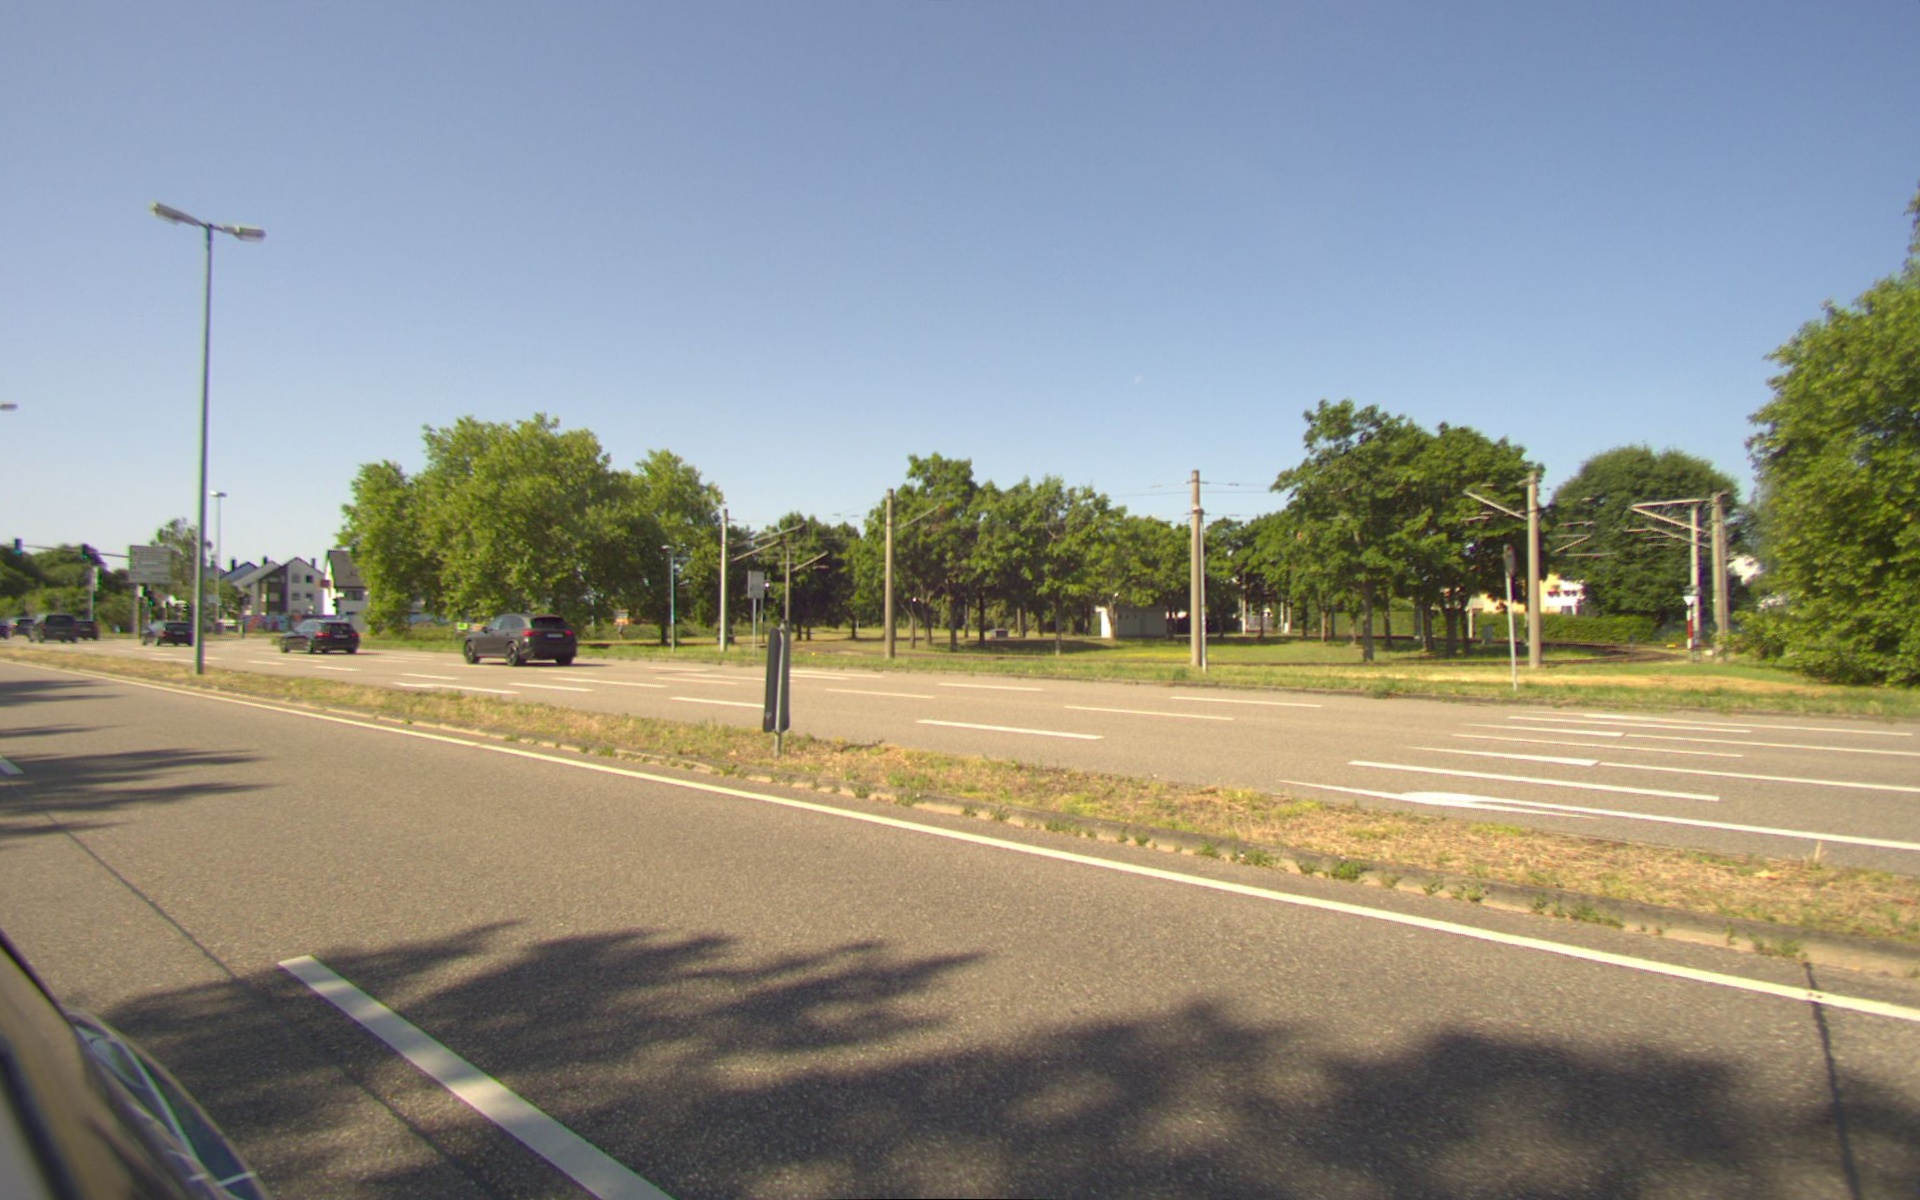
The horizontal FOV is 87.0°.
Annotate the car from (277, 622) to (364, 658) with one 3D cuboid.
[{"bbox_3d":[-27.473,1.694,43.445,4.464,1.476,1.813,-1,-2,39],"label":"car"}]

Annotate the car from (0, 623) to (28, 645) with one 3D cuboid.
[{"bbox_3d":[-67.449,2.383,71.311,4.446,1.468,1.961,-1,-4,40],"label":"car"}]

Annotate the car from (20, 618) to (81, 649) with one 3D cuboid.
[{"bbox_3d":[-54.891,1.996,61.060,4.483,1.793,1.962,-1,-1,38],"label":"car"}]

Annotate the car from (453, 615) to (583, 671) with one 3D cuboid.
[{"bbox_3d":[-14.199,1.328,32.440,4.550,1.672,1.962,-1,-2,39],"label":"car"}]

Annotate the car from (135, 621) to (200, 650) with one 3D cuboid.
[{"bbox_3d":[-44.454,1.965,56.717,4.400,1.557,1.844,-1,-2,38],"label":"car"}]

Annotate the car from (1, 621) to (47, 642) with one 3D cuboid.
[{"bbox_3d":[-77.427,2.591,83.686,4.483,1.635,2.052,-1,-2,38],"label":"car"}]
